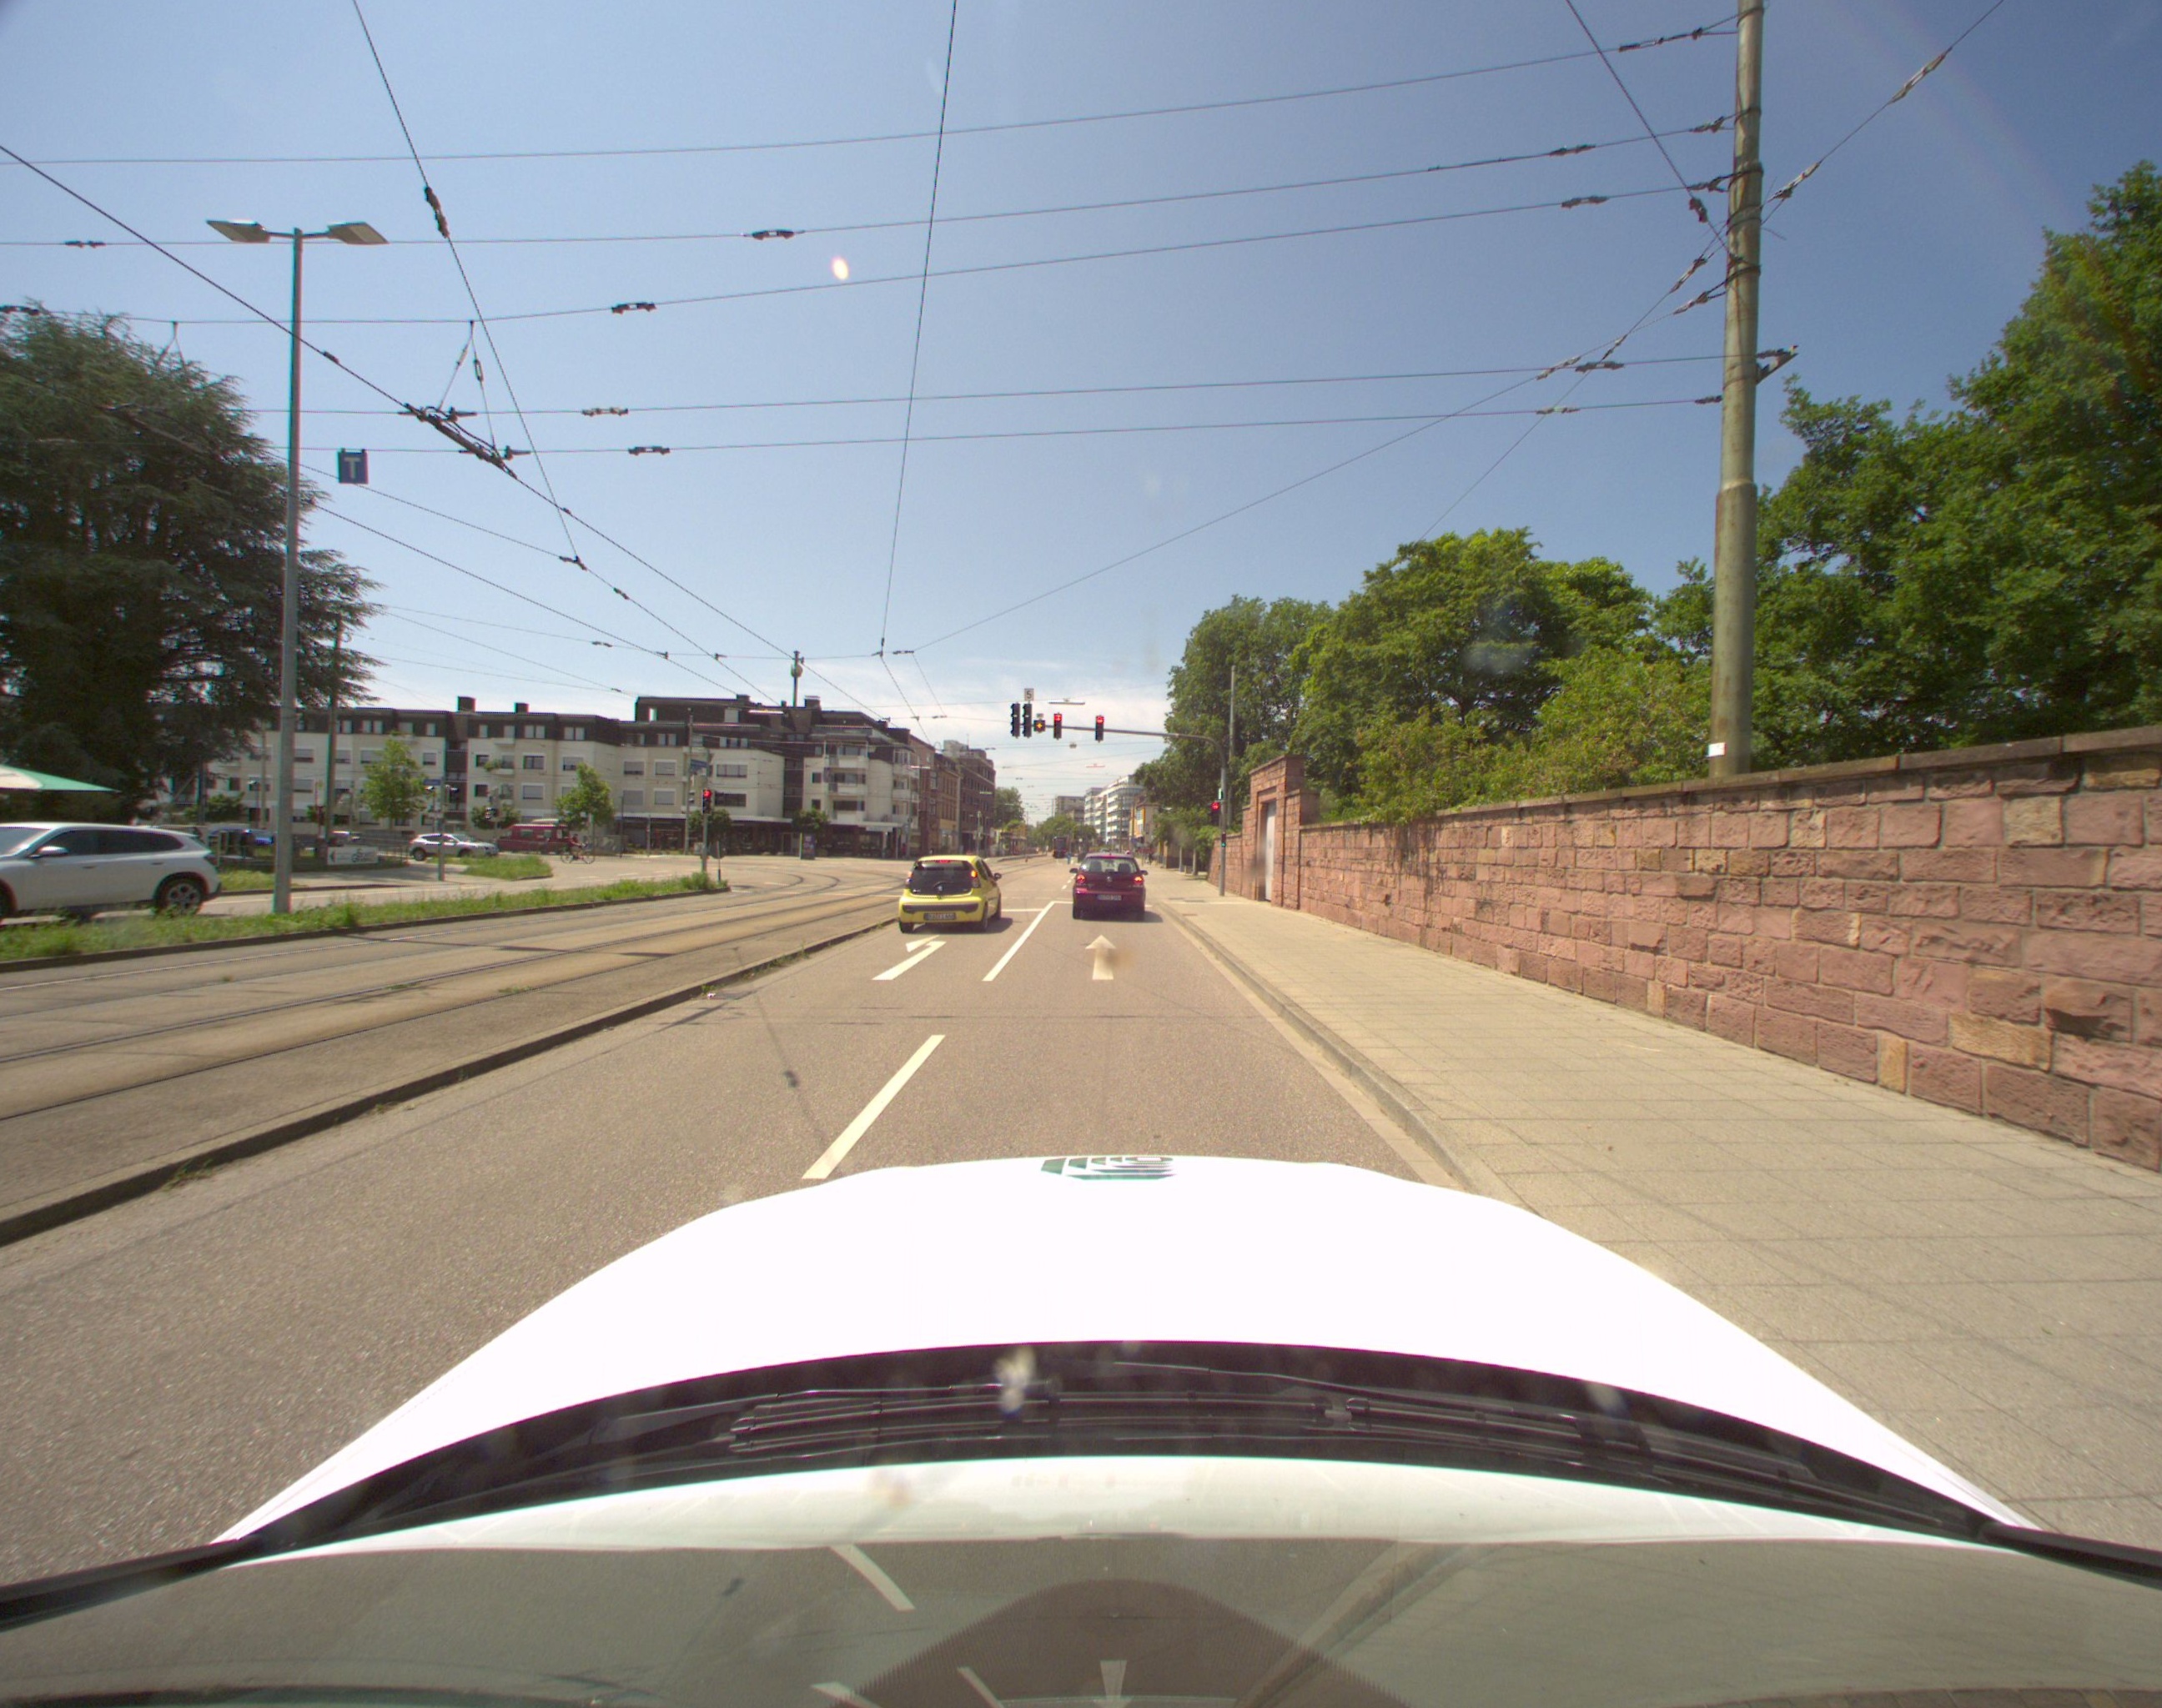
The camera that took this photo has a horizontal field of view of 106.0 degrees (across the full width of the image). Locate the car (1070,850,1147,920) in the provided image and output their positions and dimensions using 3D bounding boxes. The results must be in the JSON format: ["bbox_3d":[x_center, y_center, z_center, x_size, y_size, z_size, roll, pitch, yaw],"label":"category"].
[{"bbox_3d":[0.637,0.654,19.478,1.604,1.463,4.086,1,0,1],"label":"car"}]

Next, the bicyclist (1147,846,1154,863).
[{"bbox_3d":[7.394,0.076,86.345,0.719,1.818,0.889,0,-1,2],"label":"bicyclist"}]

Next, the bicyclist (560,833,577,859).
[{"bbox_3d":[-29.948,-0.437,47.562,0.752,1.501,0.479,0,-1,-20],"label":"bicyclist"}]

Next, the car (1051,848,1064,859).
[{"bbox_3d":[-3.717,-0.056,128.502,1.931,1.641,4.001,0,0,1],"label":"car"}]

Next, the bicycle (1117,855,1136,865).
[{"bbox_3d":[4.762,0.607,85.120,1.861,1.008,0.578,0,-1,-3],"label":"bicycle"}]

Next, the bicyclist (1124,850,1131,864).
[{"bbox_3d":[4.852,0.309,85.087,0.764,1.406,0.506,0,-1,-2],"label":"bicyclist"}]

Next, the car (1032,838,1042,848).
[{"bbox_3d":[-8.897,-2.225,165.990,1.728,2.013,4.002,1,0,2],"label":"car"}]

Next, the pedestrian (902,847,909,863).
[{"bbox_3d":[-19.051,0.119,88.422,0.614,1.754,0.499,1,-1,-43],"label":"pedestrian"}]

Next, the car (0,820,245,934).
[{"bbox_3d":[-16.163,0.337,12.674,1.720,1.610,4.564,0,0,-3],"label":"car"}]

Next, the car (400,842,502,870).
[{"bbox_3d":[-35.939,0.128,46.568,4.135,1.584,1.934,0,-1,-8],"label":"car"}]

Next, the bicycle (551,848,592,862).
[{"bbox_3d":[-29.743,0.071,47.576,1.987,0.783,0.463,0,-1,-20],"label":"bicycle"}]

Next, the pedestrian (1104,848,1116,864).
[{"bbox_3d":[3.037,0.183,85.128,0.983,1.661,0.915,1,0,-14],"label":"pedestrian"}]

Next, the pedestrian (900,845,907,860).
[{"bbox_3d":[-18.766,-0.143,86.001,0.479,1.541,0.541,0,-1,26],"label":"pedestrian"}]

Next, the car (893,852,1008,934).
[{"bbox_3d":[-2.541,0.708,16.542,1.717,1.445,3.293,-1,1,1],"label":"car"}]

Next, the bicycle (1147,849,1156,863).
[{"bbox_3d":[7.401,0.215,85.670,0.831,1.525,4.002,0,0,2],"label":"bicycle"}]

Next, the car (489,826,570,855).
[{"bbox_3d":[-44.966,-1.060,66.512,5.048,2.341,2.244,0,-1,0],"label":"car"}]

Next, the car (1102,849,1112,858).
[{"bbox_3d":[4.136,-0.148,130.910,1.567,1.415,3.721,-1,0,1],"label":"car"}]
